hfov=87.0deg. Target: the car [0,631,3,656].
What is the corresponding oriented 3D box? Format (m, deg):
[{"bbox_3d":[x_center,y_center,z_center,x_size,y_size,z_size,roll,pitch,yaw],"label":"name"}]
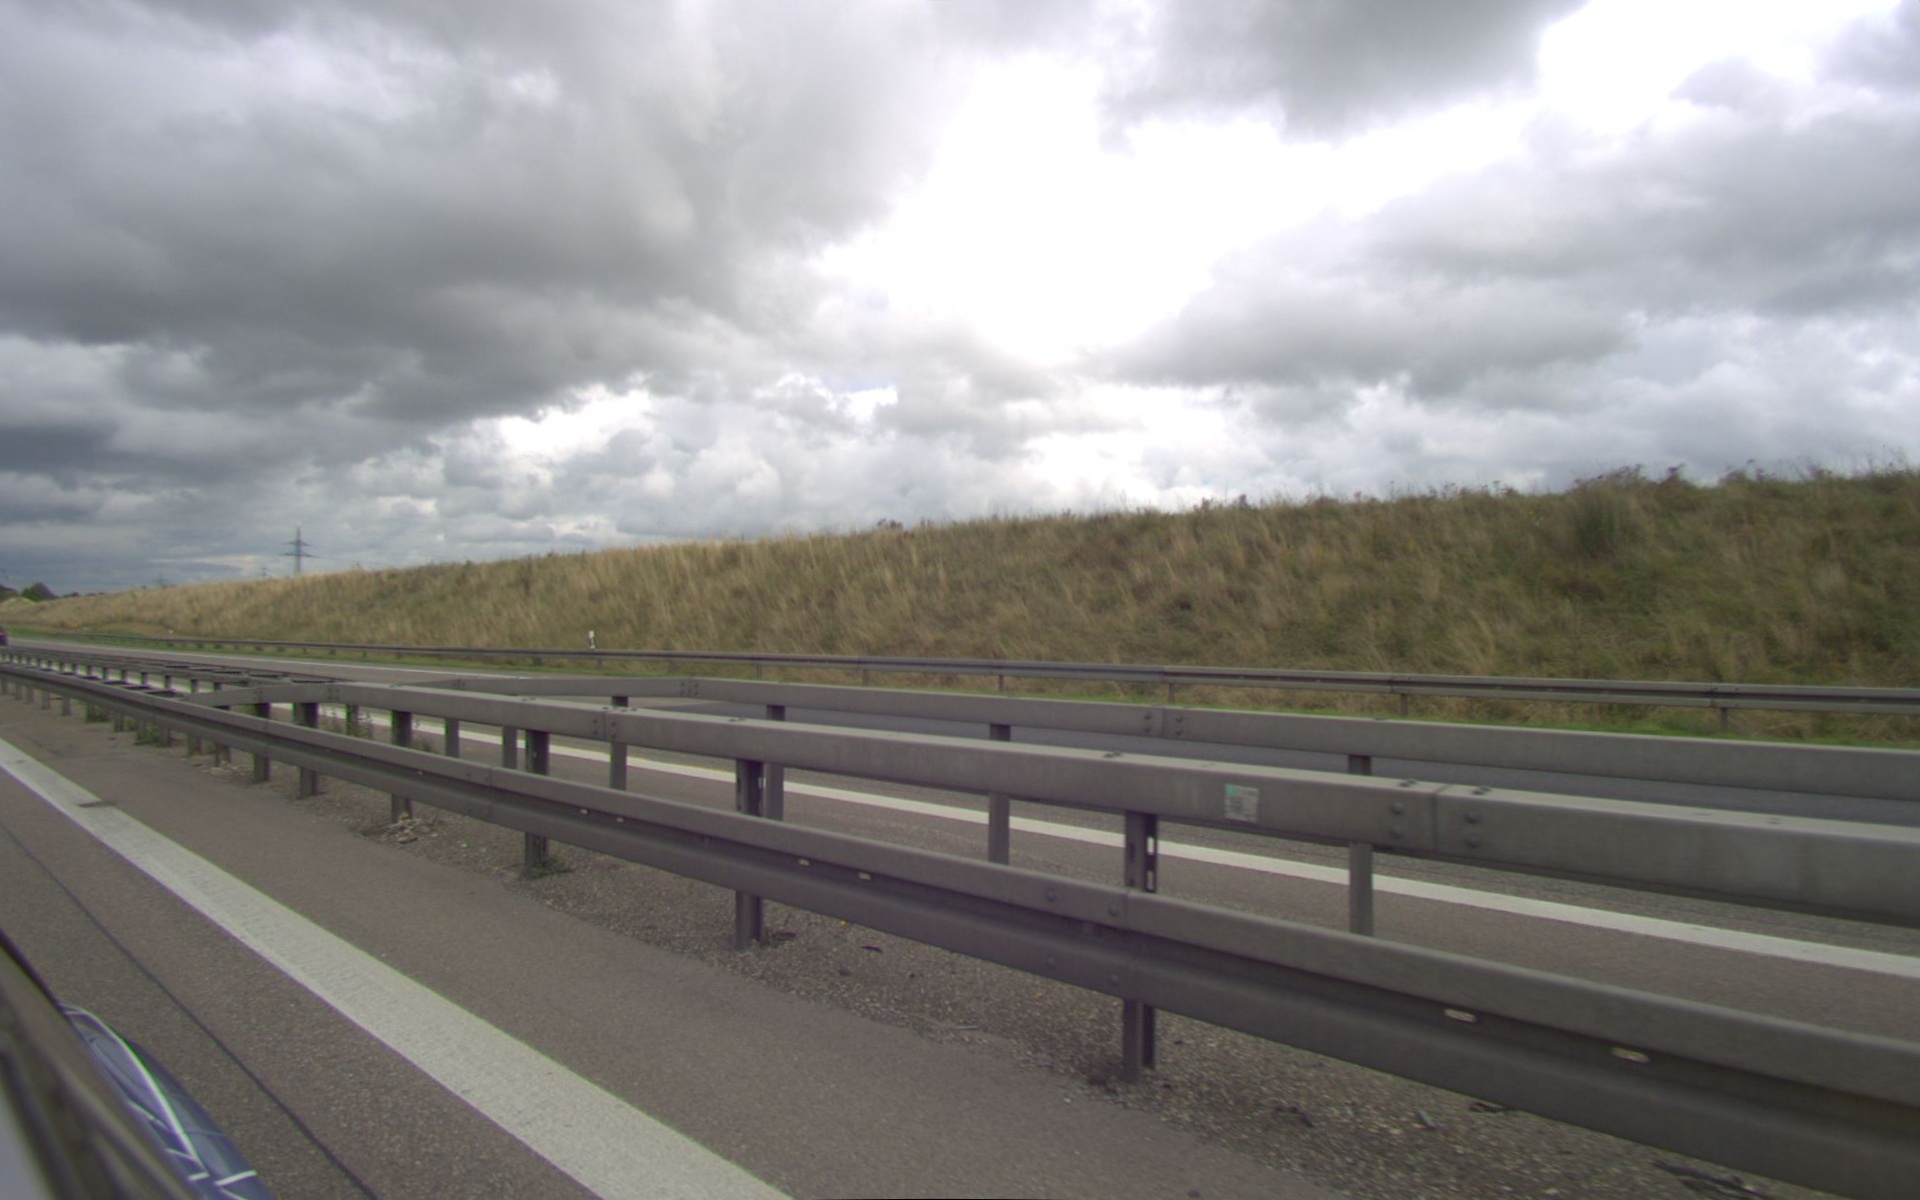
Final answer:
[{"bbox_3d":[-63.206,2.772,65.255,3.998,1.588,1.822,0,-1,42],"label":"car"}]
